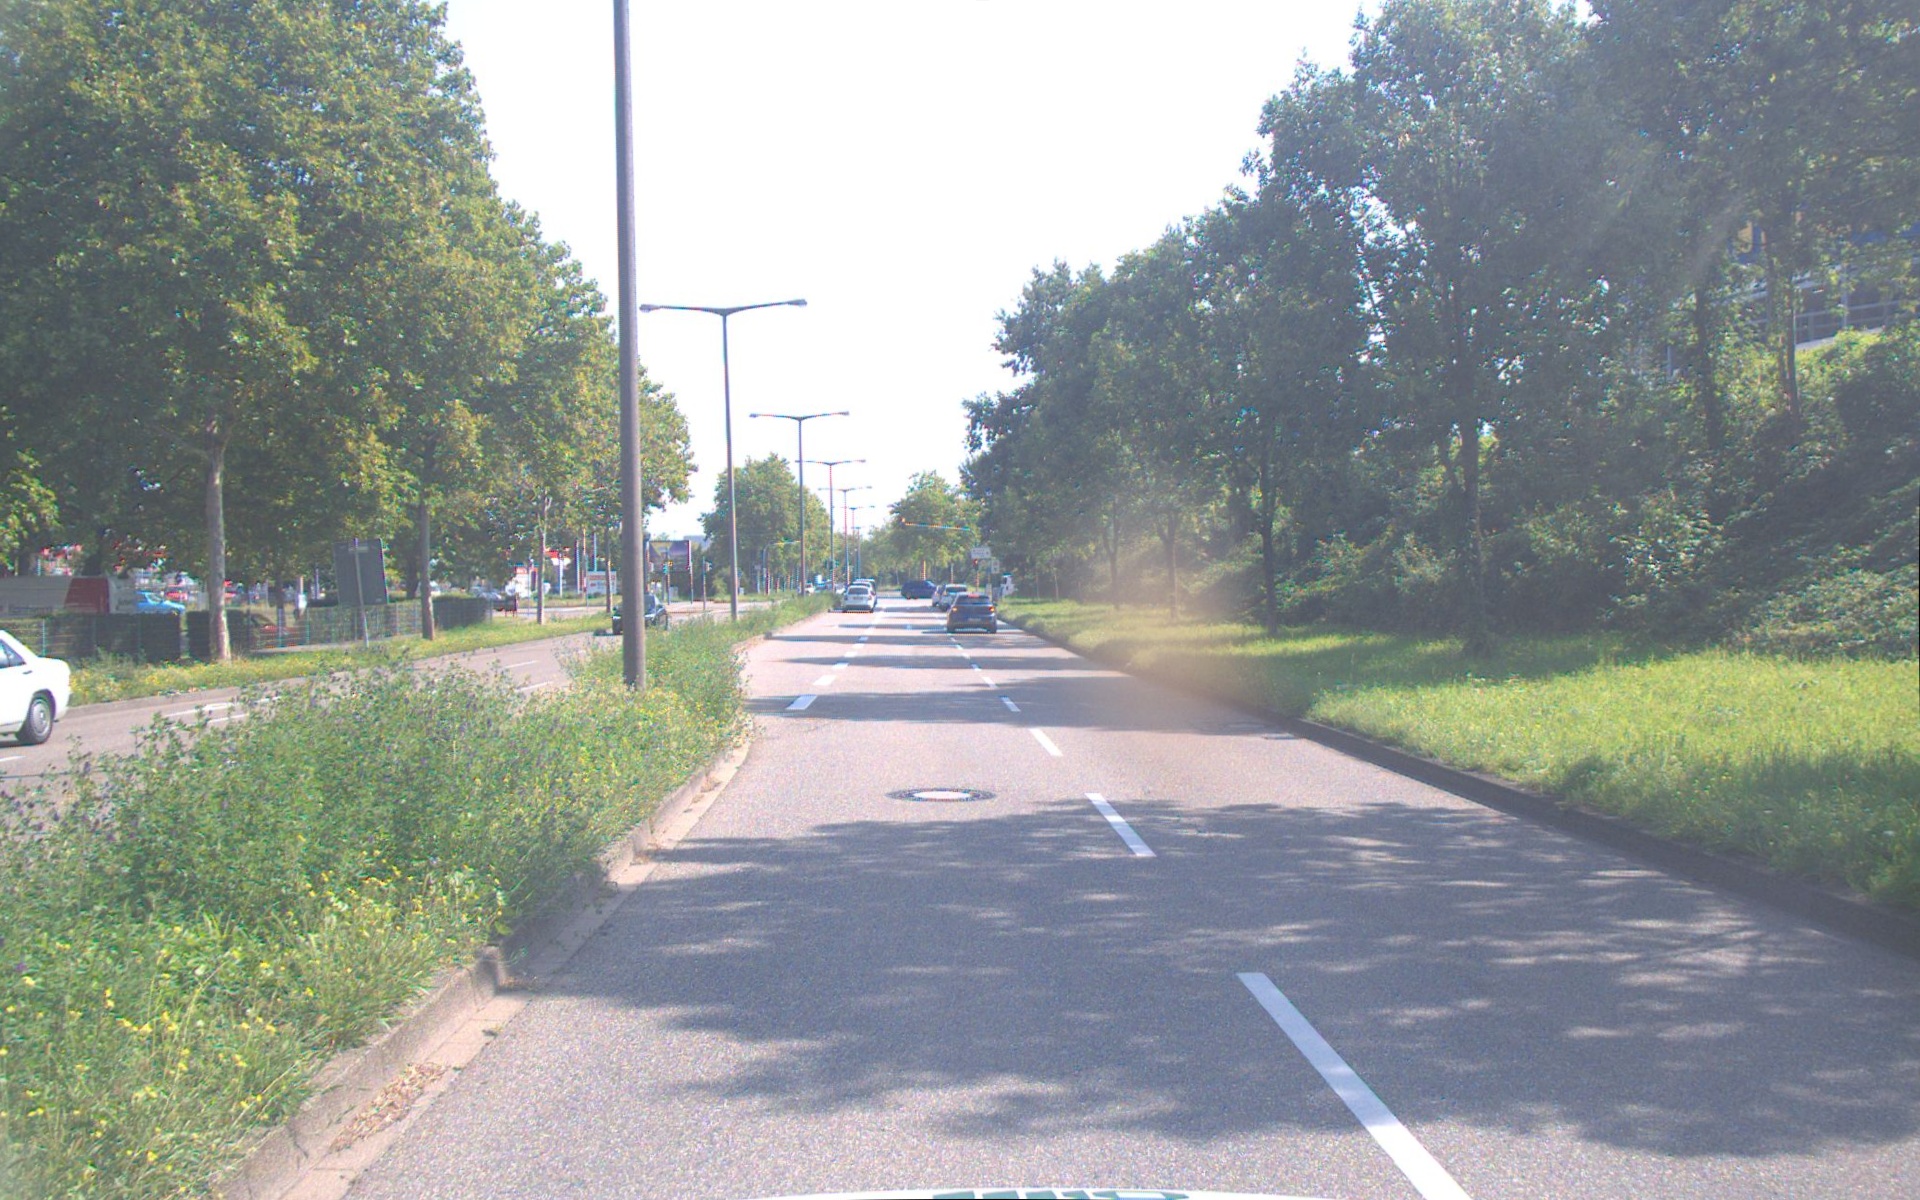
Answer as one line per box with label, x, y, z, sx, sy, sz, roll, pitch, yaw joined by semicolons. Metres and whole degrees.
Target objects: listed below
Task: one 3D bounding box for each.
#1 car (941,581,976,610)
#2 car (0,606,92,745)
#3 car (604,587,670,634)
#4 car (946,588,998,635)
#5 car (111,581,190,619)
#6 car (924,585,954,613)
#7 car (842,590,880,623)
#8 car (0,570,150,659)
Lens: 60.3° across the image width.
car;-0.099;-0.262;100.725;1.953;1.683;3.998;-1;0;-2
car;-11.292;0.895;17.655;1.759;1.441;4.409;-3;1;-2
car;-12.597;0.396;64.729;1.954;1.588;3.999;1;3;-3
car;0.410;0.382;60.388;1.744;1.452;4.000;1;3;-2
car;-47.366;-0.021;96.814;3.950;2.048;1.978;-1;3;-33
car;-1.469;-0.098;113.996;1.953;1.682;4.000;0;3;-2
car;-5.503;0.359;92.564;1.953;1.731;3.999;-1;0;-1
car;-26.440;0.387;47.181;5.473;2.377;2.278;1;3;-4
